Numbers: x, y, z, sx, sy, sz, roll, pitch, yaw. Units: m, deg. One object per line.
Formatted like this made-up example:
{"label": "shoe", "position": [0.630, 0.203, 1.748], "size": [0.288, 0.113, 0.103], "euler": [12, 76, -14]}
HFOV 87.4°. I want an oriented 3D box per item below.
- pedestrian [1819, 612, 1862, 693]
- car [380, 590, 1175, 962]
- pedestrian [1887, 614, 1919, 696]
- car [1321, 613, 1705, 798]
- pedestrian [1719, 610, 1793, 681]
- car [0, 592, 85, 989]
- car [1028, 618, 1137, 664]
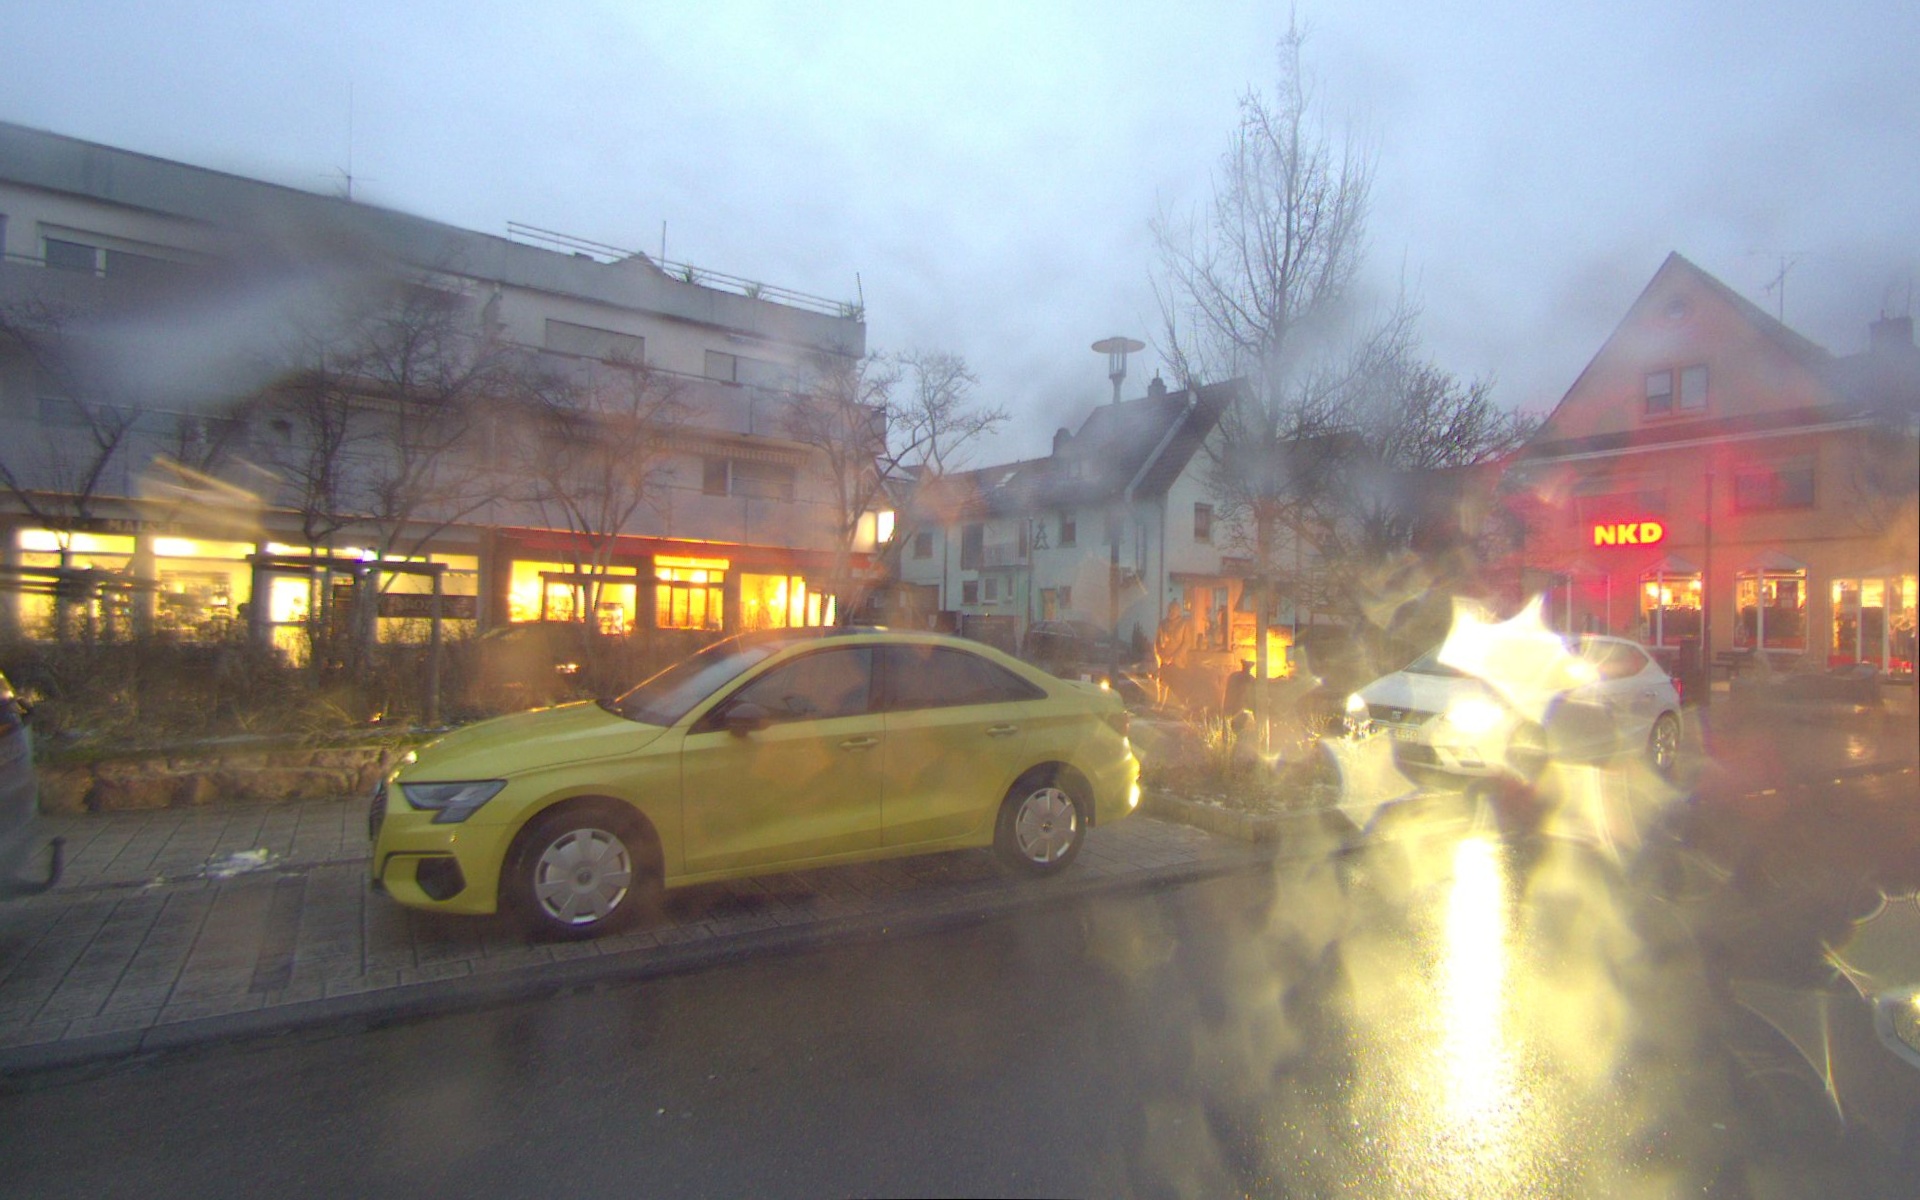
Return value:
{"label": "pedestrian", "position": [19.628, 1.165, 22.387], "size": [0.677, 1.765, 0.584], "euler": [1, -1, -35]}
{"label": "car", "position": [-0.954, 0.782, 6.020], "size": [4.290, 1.536, 1.741], "euler": [2, 1, -29]}
{"label": "pedestrian", "position": [21.120, 1.198, 22.017], "size": [0.951, 1.766, 0.967], "euler": [0, 1, -34]}
{"label": "car", "position": [5.754, 0.964, 10.358], "size": [3.953, 1.536, 1.661], "euler": [2, 1, -30]}
{"label": "pedestrian", "position": [17.460, 0.992, 22.049], "size": [0.766, 1.437, 0.887], "euler": [2, 5, -25]}
{"label": "car", "position": [-5.640, 0.704, 3.444], "size": [3.733, 1.536, 1.682], "euler": [2, 0, -33]}
{"label": "car", "position": [4.459, 1.477, 36.866], "size": [1.604, 1.539, 3.854], "euler": [2, -1, -43]}
